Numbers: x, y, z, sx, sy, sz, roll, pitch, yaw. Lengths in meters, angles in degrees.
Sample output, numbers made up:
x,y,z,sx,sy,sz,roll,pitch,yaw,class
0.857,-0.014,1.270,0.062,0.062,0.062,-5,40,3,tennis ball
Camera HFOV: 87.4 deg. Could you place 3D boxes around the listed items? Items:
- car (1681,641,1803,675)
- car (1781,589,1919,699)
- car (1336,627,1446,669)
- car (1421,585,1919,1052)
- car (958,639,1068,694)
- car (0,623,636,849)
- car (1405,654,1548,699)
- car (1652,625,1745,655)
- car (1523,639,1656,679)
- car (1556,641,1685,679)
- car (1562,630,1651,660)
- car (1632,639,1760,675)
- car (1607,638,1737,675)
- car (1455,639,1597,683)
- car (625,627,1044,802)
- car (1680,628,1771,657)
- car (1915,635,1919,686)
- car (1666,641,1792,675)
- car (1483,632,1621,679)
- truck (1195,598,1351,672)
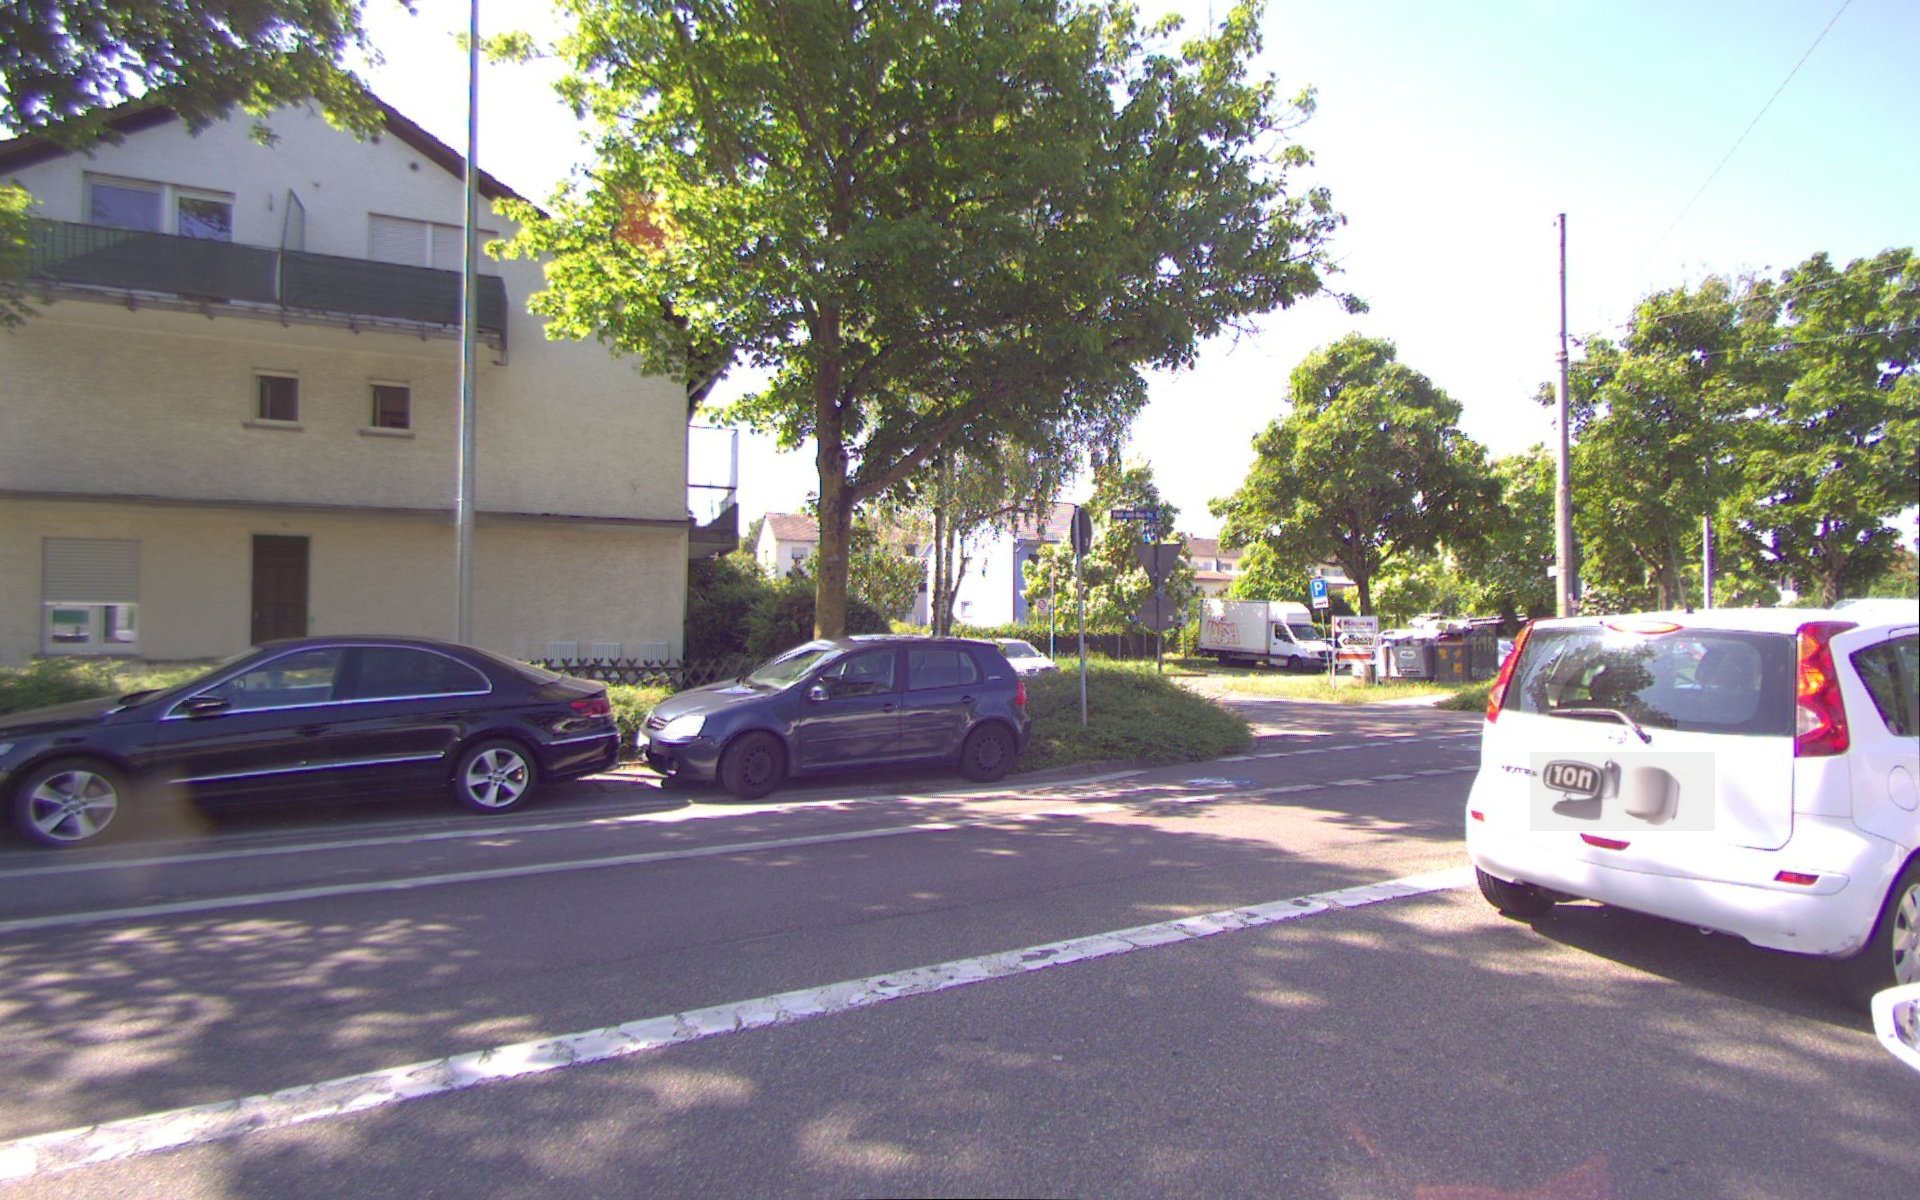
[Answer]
x,y,z,sx,sy,sz,roll,pitch,yaw,class
34.926,2.593,44.945,1.712,1.434,3.964,2,-4,-33,car
23.794,1.083,25.833,5.745,2.550,2.114,1,0,-29,car
21.658,2.374,50.664,2.043,1.811,4.762,2,0,-34,car
4.561,0.784,5.242,4.493,1.568,1.654,1,-1,-30,car
1.414,1.871,28.433,1.704,1.434,3.983,1,-3,-20,car
-5.264,0.963,8.407,4.568,1.434,1.854,1,0,-31,car
17.326,2.535,33.884,1.712,1.434,3.964,2,-4,-33,car
50.501,2.697,68.778,2.043,1.811,4.762,2,0,-34,car
24.175,2.265,38.697,1.712,1.434,3.964,2,-4,-33,car
26.314,2.386,40.143,1.712,1.434,3.964,2,-4,-33,car
44.529,3.062,69.274,2.043,1.811,4.762,2,0,-34,car
30.746,2.392,42.065,1.712,1.434,3.964,2,-4,-33,car
28.793,2.298,40.736,1.712,1.434,3.964,2,-4,-33,car
19.699,2.123,35.107,1.712,1.434,3.964,2,-4,-33,car
-1.272,1.064,10.471,3.988,1.462,1.718,1,0,-28,car
54.436,2.986,71.520,2.043,1.811,4.762,2,0,-34,car
29.409,1.773,28.805,4.230,1.434,1.854,1,0,-31,car
33.168,2.507,43.434,1.712,1.434,3.964,2,-4,-33,car
21.419,2.021,36.491,1.712,1.631,3.964,2,-4,-33,car
14.403,1.521,46.863,2.646,3.151,6.967,1,0,-30,truck
